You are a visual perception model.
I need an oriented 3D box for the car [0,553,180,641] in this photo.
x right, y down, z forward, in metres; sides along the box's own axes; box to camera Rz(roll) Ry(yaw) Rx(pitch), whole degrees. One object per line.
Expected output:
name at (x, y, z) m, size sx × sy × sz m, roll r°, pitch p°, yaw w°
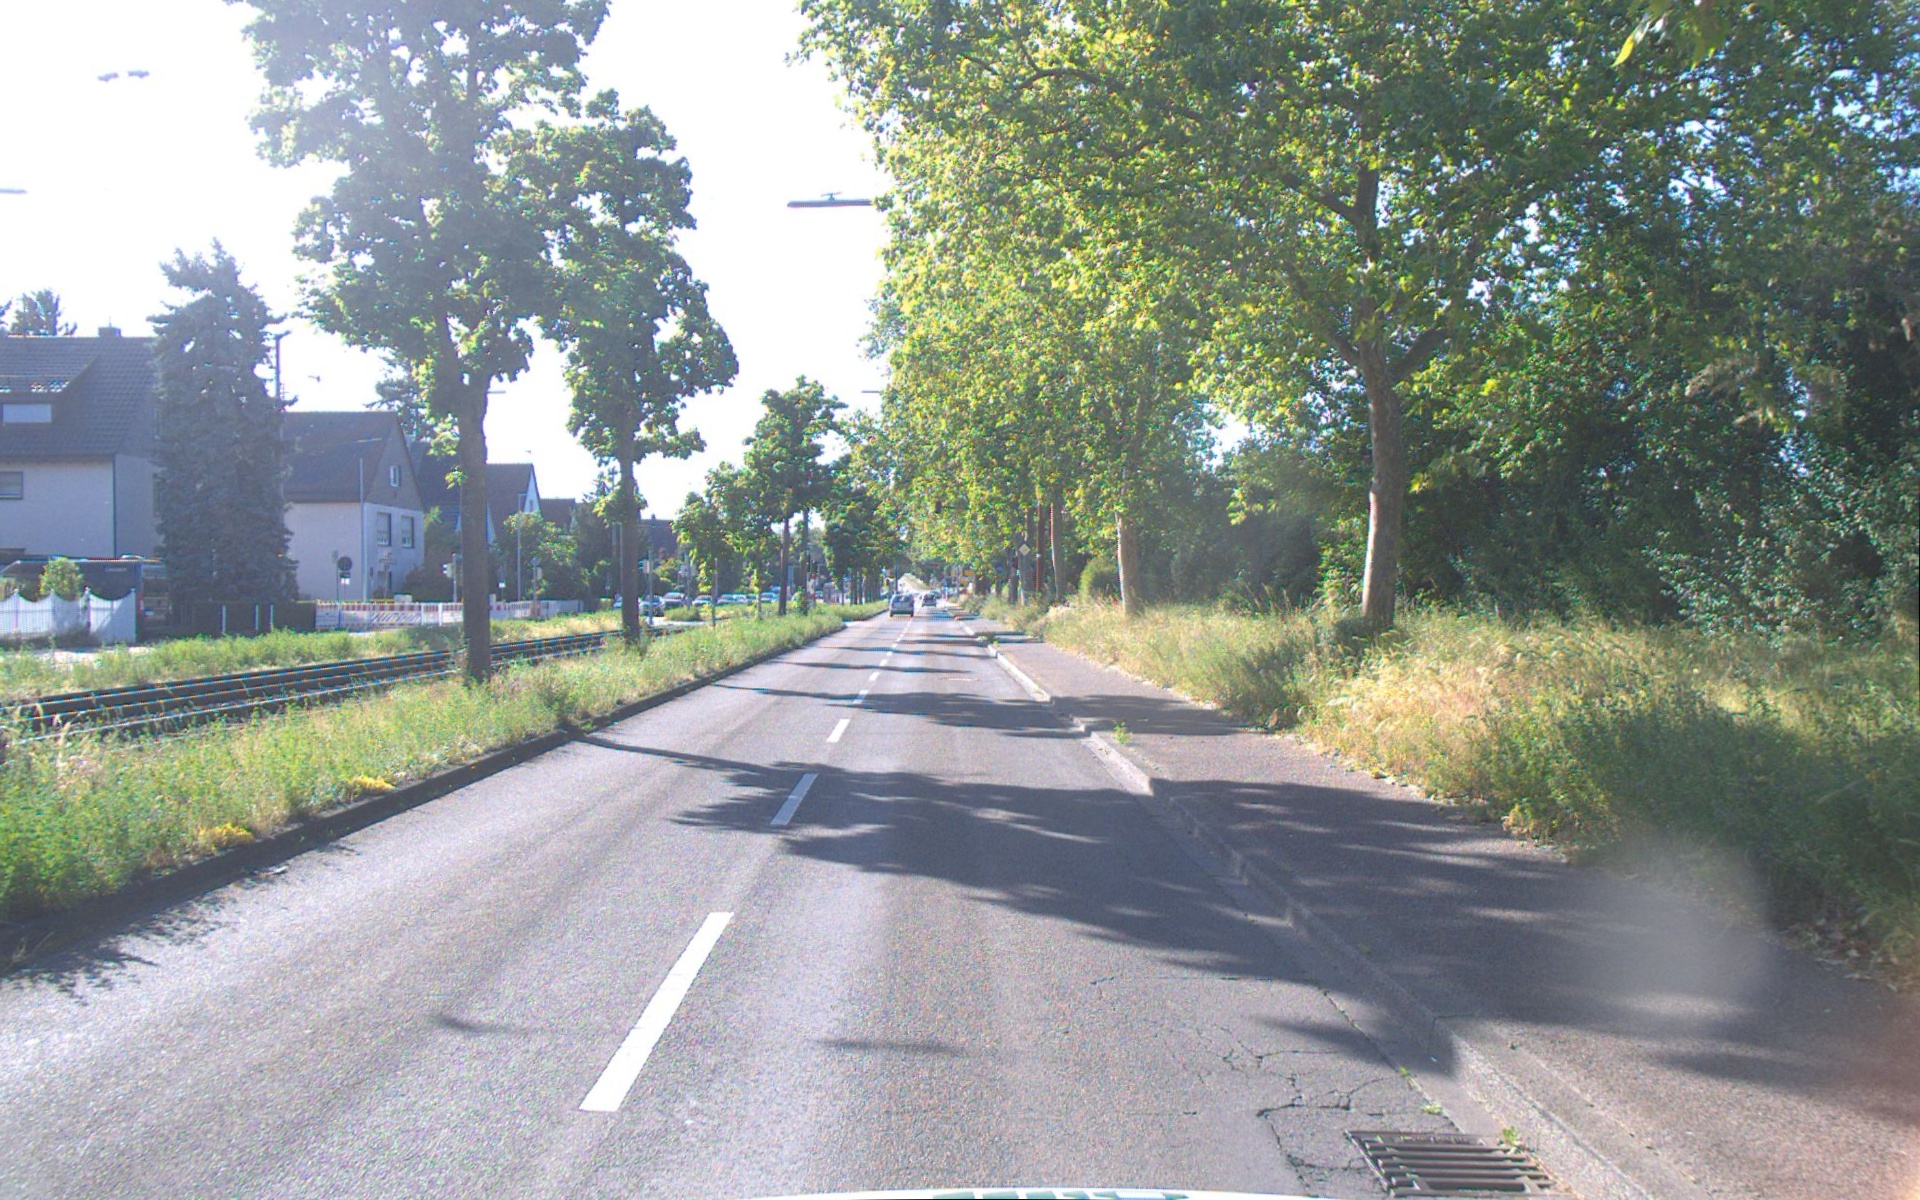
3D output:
car at (-27.249, -0.111, 51.448) m, size 4.926 × 2.671 × 2.102 m, roll 0°, pitch 1°, yaw -1°

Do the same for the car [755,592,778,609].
car at (-19.525, 0.040, 167.050) m, size 1.953 × 1.631 × 4.472 m, roll 1°, pitch 0°, yaw -2°

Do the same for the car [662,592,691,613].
car at (-23.025, 0.199, 134.425) m, size 1.712 × 1.679 × 4.554 m, roll 1°, pitch 0°, yaw -2°

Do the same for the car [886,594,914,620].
car at (-3.959, 0.464, 110.214) m, size 1.822 × 1.629 × 4.226 m, roll 1°, pitch 0°, yaw -2°

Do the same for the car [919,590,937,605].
car at (-3.639, -0.226, 185.226) m, size 1.953 × 1.631 × 4.472 m, roll 1°, pitch 0°, yaw -2°

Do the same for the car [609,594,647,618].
car at (-22.912, 0.403, 114.332) m, size 1.822 × 1.569 × 4.226 m, roll 1°, pitch 0°, yaw -2°

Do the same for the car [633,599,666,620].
car at (-23.082, 0.668, 123.018) m, size 1.694 × 1.491 × 4.601 m, roll 1°, pitch 0°, yaw -2°

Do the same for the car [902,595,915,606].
car at (-7.553, 0.054, 243.853) m, size 1.953 × 1.631 × 4.472 m, roll 1°, pitch 0°, yaw -2°
